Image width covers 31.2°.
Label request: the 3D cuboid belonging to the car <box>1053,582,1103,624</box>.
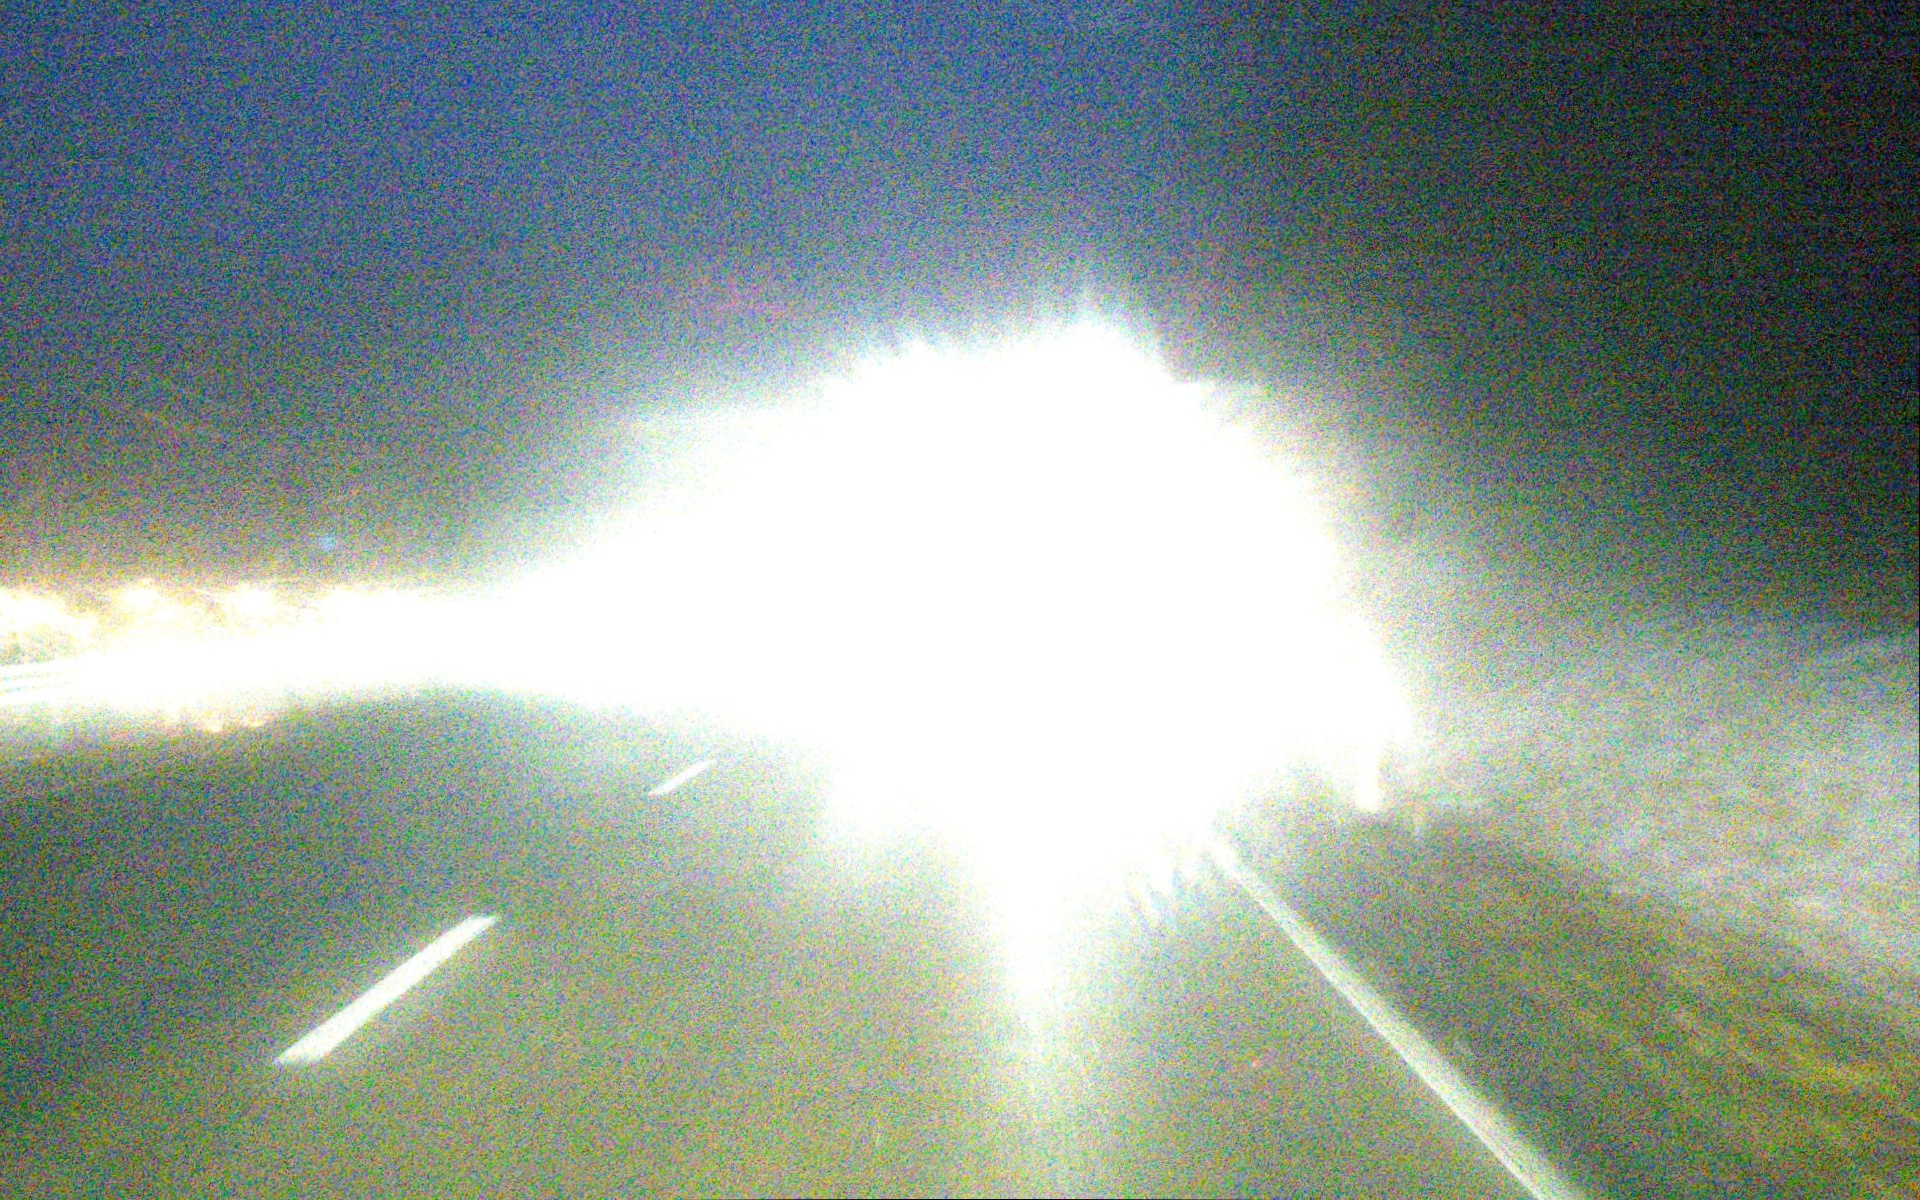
[{"bbox_3d":[4.813,0.110,139.665,1.781,1.661,4.471,1,0,5],"label":"car"}]

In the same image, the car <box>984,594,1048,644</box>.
[{"bbox_3d":[1.680,0.556,102.356,1.740,1.397,3.860,1,0,3],"label":"car"}]
